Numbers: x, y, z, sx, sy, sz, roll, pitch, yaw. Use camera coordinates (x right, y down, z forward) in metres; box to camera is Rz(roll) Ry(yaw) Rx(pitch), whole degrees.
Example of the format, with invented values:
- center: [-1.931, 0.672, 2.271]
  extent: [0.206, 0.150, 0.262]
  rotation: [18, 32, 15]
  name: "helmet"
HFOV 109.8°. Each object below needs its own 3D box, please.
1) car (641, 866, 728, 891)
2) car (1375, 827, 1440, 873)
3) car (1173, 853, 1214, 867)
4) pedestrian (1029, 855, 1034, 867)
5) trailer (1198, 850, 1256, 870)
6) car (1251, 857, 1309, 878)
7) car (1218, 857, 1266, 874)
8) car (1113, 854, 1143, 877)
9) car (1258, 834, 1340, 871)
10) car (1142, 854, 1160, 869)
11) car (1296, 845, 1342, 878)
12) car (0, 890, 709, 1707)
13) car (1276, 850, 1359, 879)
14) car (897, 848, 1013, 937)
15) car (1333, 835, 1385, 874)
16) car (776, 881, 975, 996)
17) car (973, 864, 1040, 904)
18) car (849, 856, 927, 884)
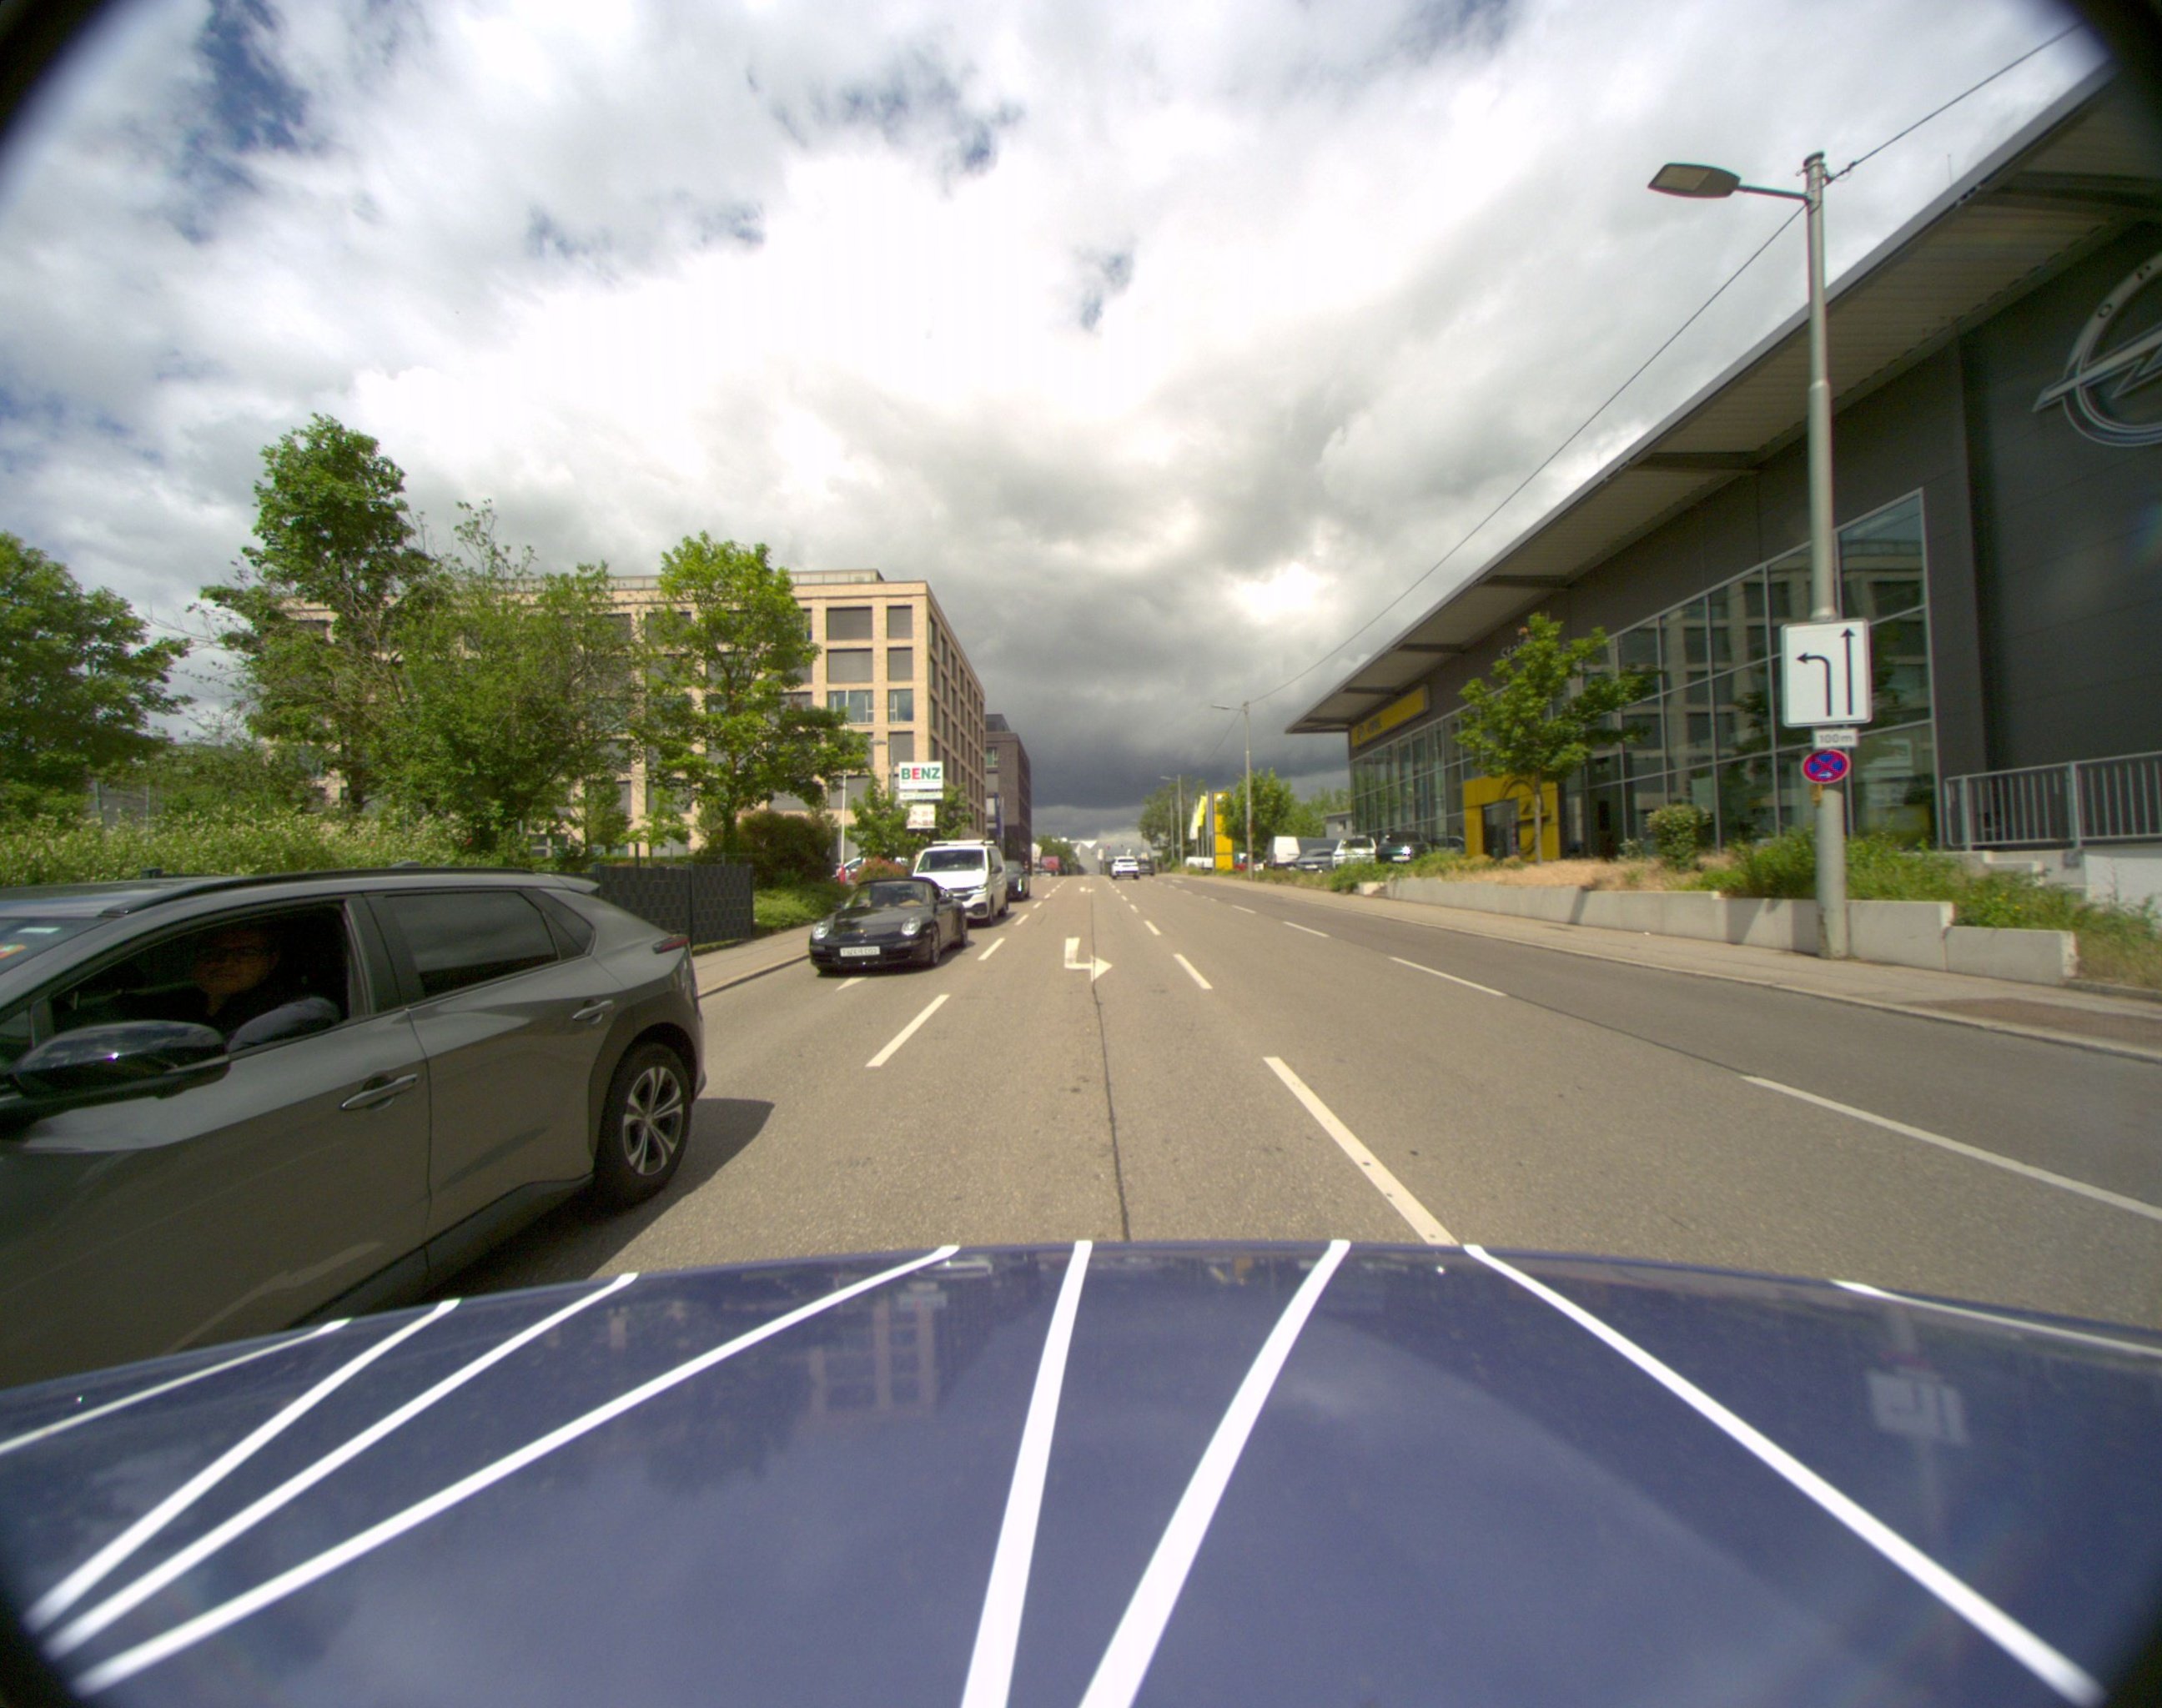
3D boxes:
- center: [-23.382, 1.445, 44.937]
  extent: [4.219, 1.410, 1.735]
  rotation: [-1, 0, -1]
  name: "car"
- center: [12.429, -0.146, 28.756]
  extent: [1.817, 1.604, 4.117]
  rotation: [1, 1, 29]
  name: "car"
- center: [12.471, 0.631, 84.421]
  extent: [4.252, 1.473, 2.095]
  rotation: [-1, 0, -2]
  name: "car"
- center: [-5.857, 0.829, 89.862]
  extent: [0.578, 1.497, 0.542]
  rotation: [-1, 1, 1]
  name: "pedestrian"
- center: [13.142, 0.498, 68.683]
  extent: [4.835, 1.742, 2.095]
  rotation: [-1, 0, -3]
  name: "trailer"
- center: [14.957, 1.029, 57.287]
  extent: [3.946, 1.518, 1.561]
  rotation: [-1, 0, -2]
  name: "car"
- center: [13.701, 0.989, 64.797]
  extent: [3.669, 1.401, 1.815]
  rotation: [-1, 0, 2]
  name: "car"
- center: [3.396, 0.805, 55.463]
  extent: [1.924, 1.604, 4.416]
  rotation: [-1, 0, 1]
  name: "car"
- center: [13.649, -0.101, 47.820]
  extent: [4.531, 2.182, 2.179]
  rotation: [-1, 1, -1]
  name: "car"
- center: [7.196, 0.752, 78.073]
  extent: [1.762, 1.513, 3.959]
  rotation: [-1, 0, 5]
  name: "car"
- center: [12.257, 0.355, 38.957]
  extent: [1.794, 1.604, 4.116]
  rotation: [-1, 0, 24]
  name: "car"
- center: [-2.990, 1.029, 1.665]
  extent: [1.924, 1.604, 4.683]
  rotation: [-3, 0, 1]
  name: "car"
- center: [13.331, 0.580, 43.014]
  extent: [4.108, 1.604, 1.797]
  rotation: [-1, 0, -8]
  name: "car"
- center: [-2.931, 0.835, 18.799]
  extent: [1.964, 1.840, 4.645]
  rotation: [-3, 0, 1]
  name: "car"
- center: [12.370, -0.006, 33.650]
  extent: [1.793, 1.604, 4.115]
  rotation: [-1, 1, 25]
  name: "car"
- center: [-2.998, 1.187, 12.188]
  extent: [1.777, 1.267, 4.569]
  rotation: [-3, 0, 2]
  name: "car"
- center: [-2.720, 1.082, 28.758]
  extent: [1.777, 1.267, 4.569]
  rotation: [-1, 0, 4]
  name: "car"
- center: [-11.507, 0.938, 45.493]
  extent: [4.220, 1.567, 1.735]
  rotation: [-1, 0, -4]
  name: "car"
